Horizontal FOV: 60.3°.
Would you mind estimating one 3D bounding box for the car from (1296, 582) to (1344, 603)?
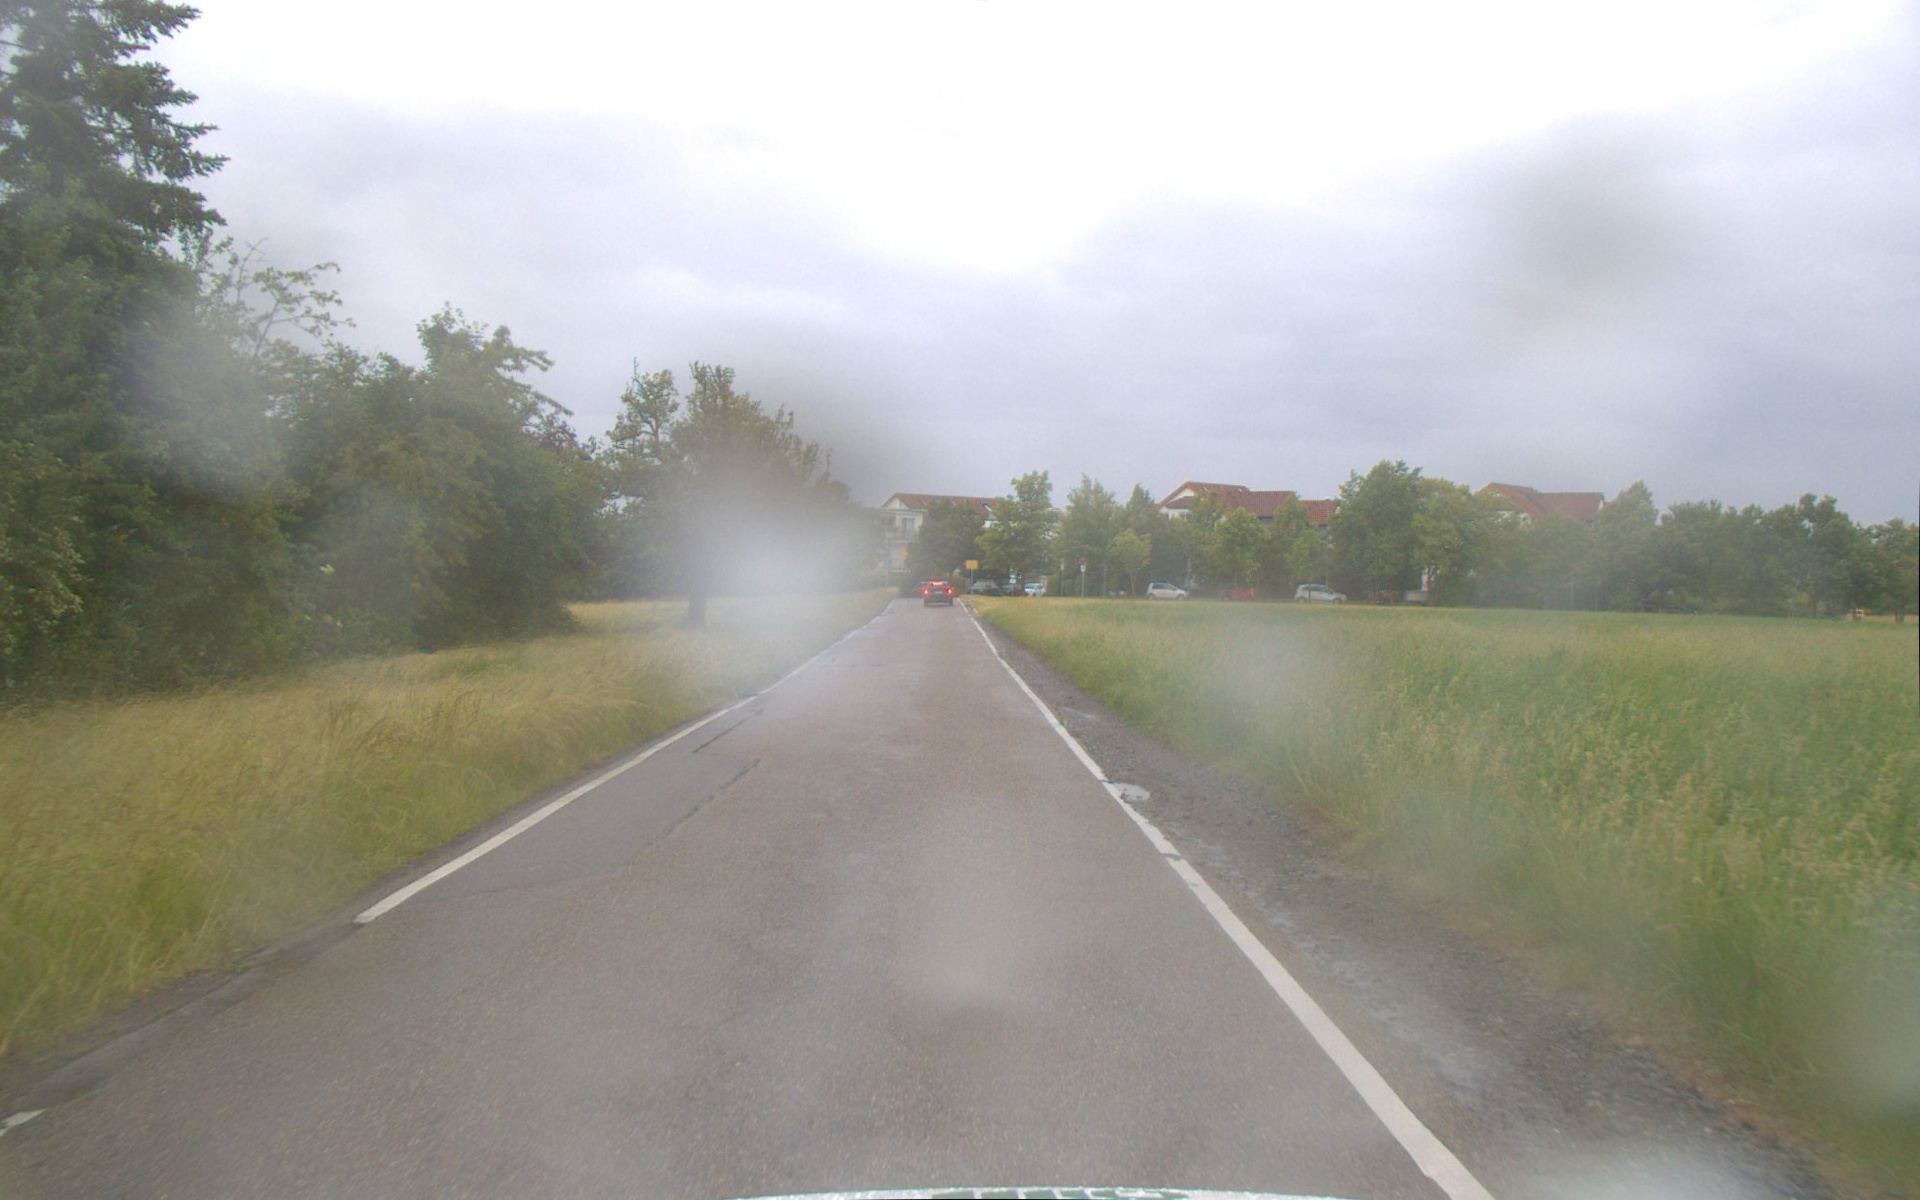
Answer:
[{"bbox_3d":[28.083,-0.557,129.057,3.630,1.591,1.611,0,-1,12],"label":"car"}]

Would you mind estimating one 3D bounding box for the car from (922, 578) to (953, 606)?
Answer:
[{"bbox_3d":[-1.325,-0.460,99.555,1.777,1.622,4.000,0,-1,0],"label":"car"}]

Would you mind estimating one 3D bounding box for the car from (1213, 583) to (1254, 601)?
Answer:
[{"bbox_3d":[21.601,-0.608,130.597,3.124,1.395,1.573,0,-1,12],"label":"car"}]

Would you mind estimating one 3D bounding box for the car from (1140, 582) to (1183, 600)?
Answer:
[{"bbox_3d":[16.089,-0.732,131.966,3.317,1.395,1.549,0,-1,12],"label":"car"}]

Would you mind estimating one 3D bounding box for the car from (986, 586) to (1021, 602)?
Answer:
[{"bbox_3d":[4.342,-0.579,165.301,1.632,1.574,3.986,0,-1,34],"label":"car"}]

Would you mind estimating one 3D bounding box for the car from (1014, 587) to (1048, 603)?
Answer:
[{"bbox_3d":[7.289,-0.487,169.594,1.632,1.574,3.986,0,-1,34],"label":"car"}]

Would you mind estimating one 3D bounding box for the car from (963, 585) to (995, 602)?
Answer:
[{"bbox_3d":[1.842,-0.625,160.635,1.627,1.574,3.998,0,-1,24],"label":"car"}]
